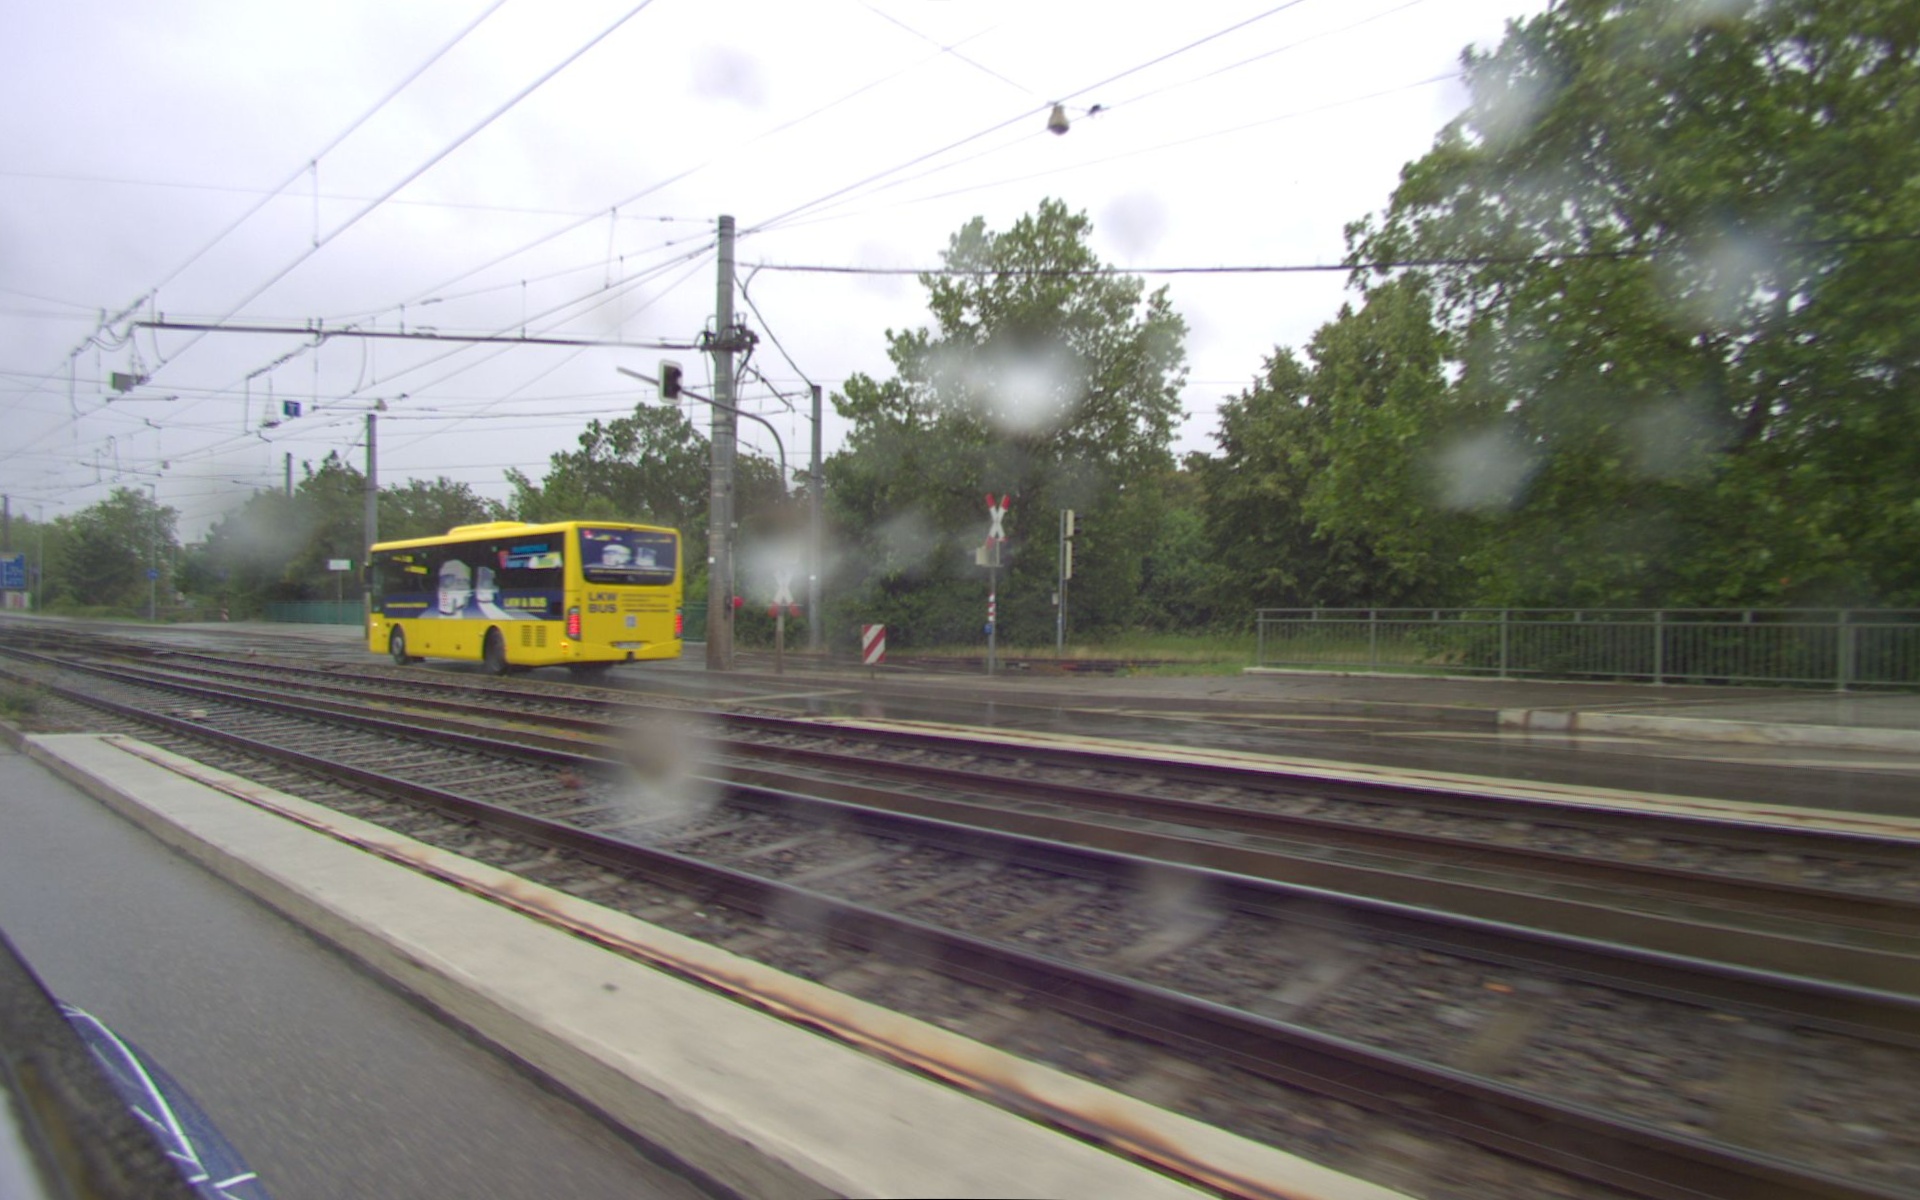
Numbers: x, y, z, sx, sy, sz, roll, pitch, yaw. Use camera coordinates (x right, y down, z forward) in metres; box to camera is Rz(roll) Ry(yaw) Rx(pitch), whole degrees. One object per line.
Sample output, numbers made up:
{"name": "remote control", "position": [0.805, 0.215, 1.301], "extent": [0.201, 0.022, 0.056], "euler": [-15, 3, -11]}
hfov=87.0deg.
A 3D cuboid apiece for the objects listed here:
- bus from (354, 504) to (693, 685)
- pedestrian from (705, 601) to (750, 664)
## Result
{"name": "bus", "position": [-10.512, 0.075, 23.381], "extent": [10.986, 3.367, 2.680], "euler": [-2, -3, 41]}
{"name": "pedestrian", "position": [-7.092, 0.975, 30.893], "extent": [1.042, 1.832, 0.856], "euler": [1, 2, 39]}
